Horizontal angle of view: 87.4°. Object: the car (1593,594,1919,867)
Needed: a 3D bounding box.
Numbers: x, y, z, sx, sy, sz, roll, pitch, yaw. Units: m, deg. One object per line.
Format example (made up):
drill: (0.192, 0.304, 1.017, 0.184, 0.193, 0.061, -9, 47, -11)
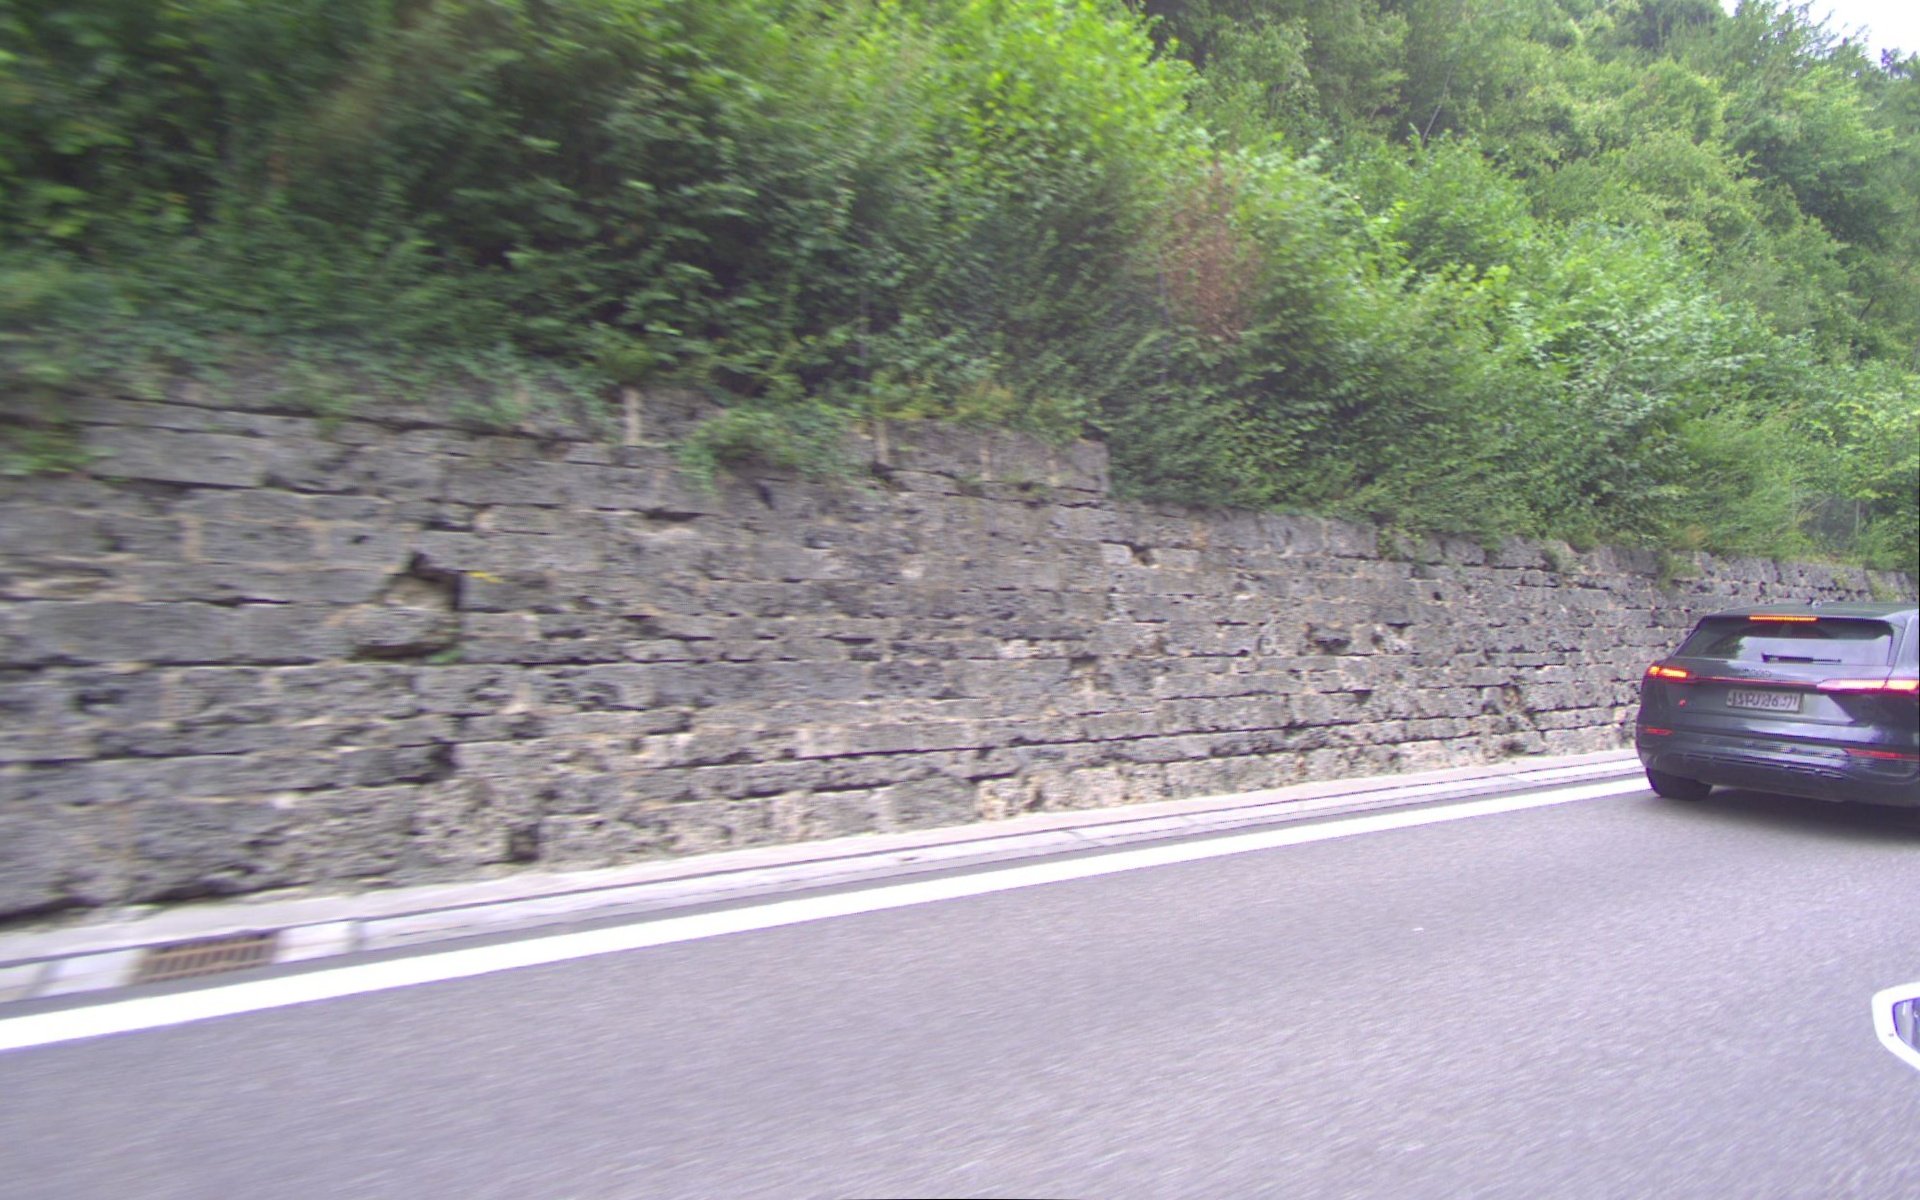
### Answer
car: (7.497, 0.837, 8.217, 4.953, 1.654, 1.982, 1, 0, -32)
